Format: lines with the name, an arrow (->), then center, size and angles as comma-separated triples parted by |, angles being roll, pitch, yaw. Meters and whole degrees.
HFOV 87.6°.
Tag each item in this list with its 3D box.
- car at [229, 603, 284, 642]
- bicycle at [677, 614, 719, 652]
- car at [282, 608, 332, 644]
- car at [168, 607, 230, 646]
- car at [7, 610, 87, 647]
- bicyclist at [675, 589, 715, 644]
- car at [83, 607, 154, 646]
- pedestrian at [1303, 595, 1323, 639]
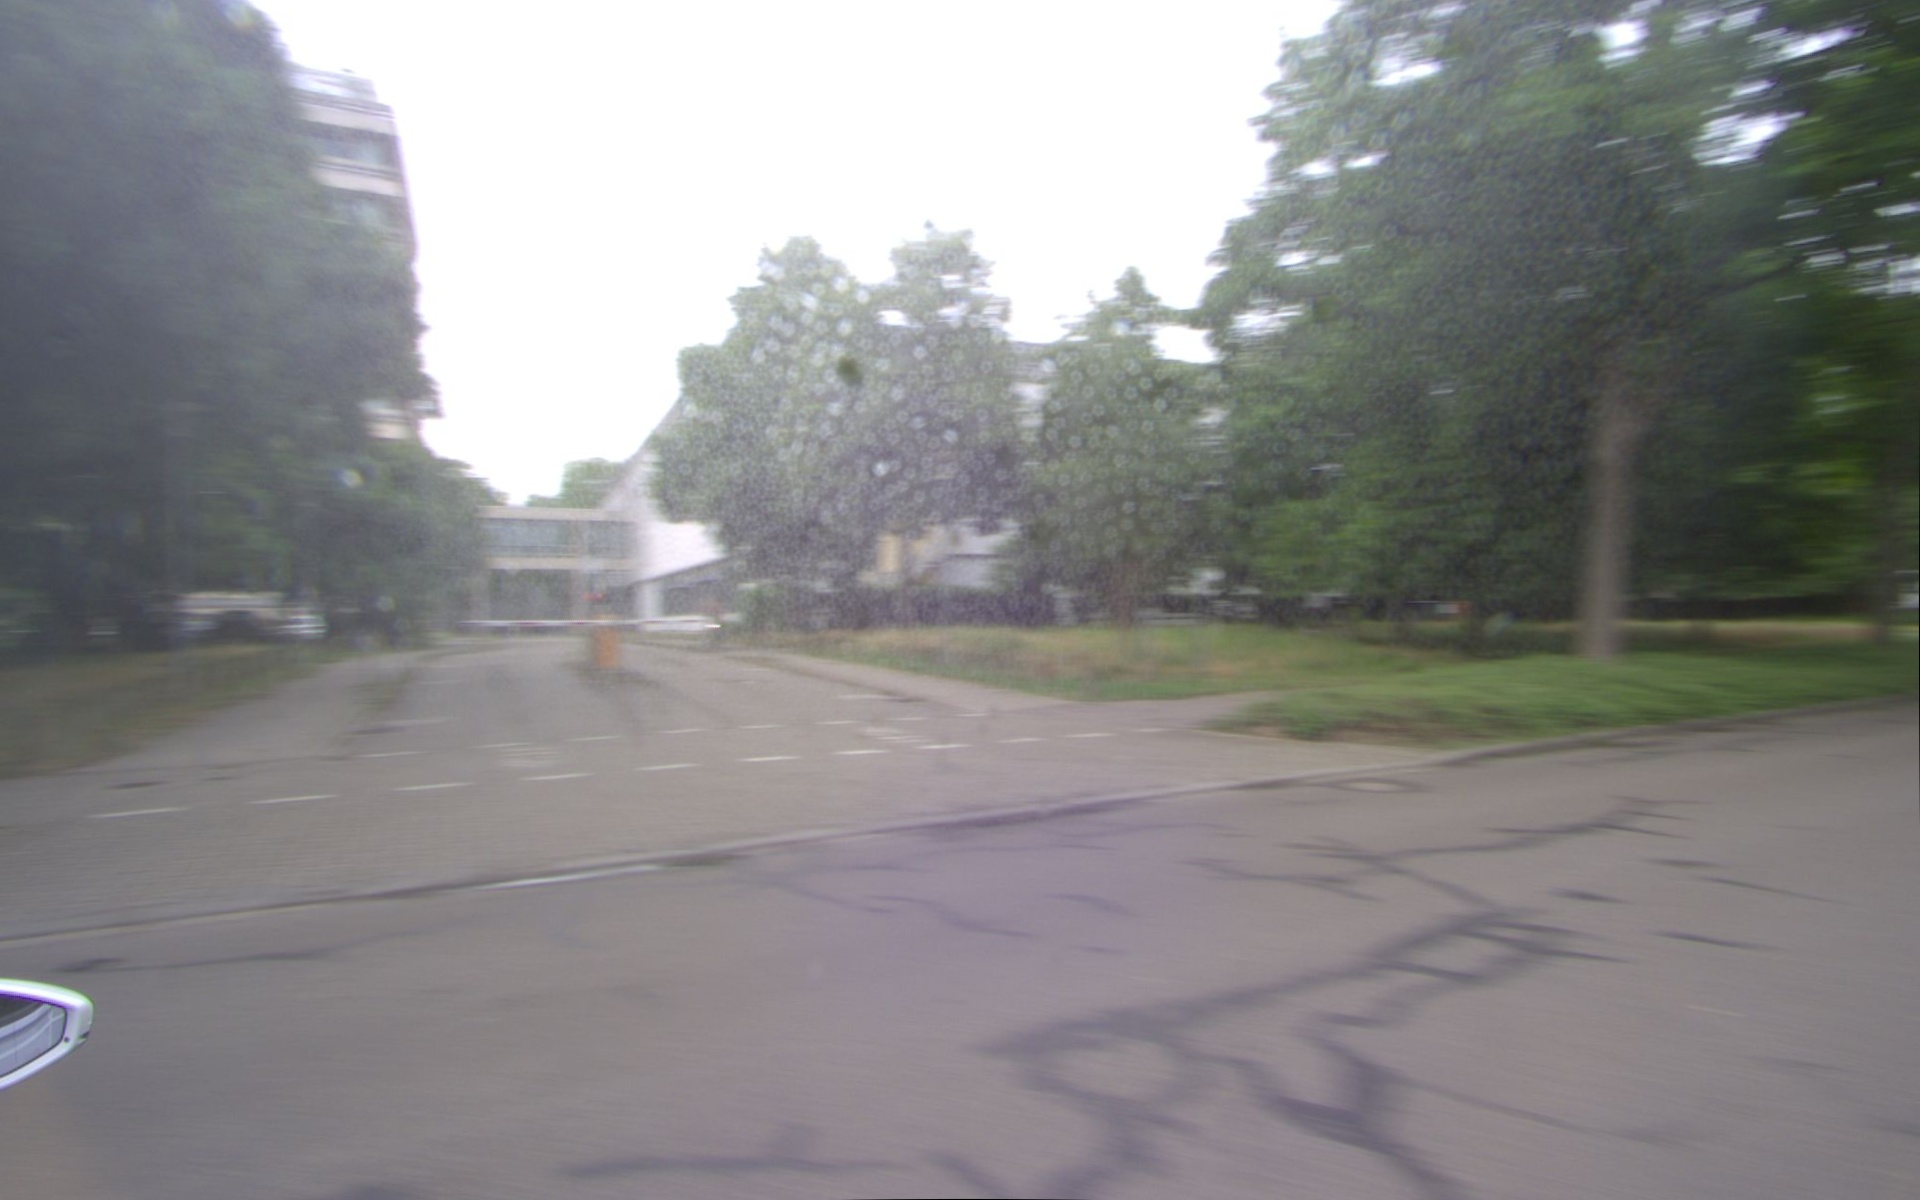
car -> -36.087, 1.193, 51.455 | 1.971, 1.906, 3.980 | 0, -2, -30
bicycle -> -8.057, 0.987, 30.692 | 0.856, 1.089, 2.133 | -1, 0, -25
car -> -34.117, 1.362, 52.366 | 1.971, 1.784, 3.980 | 0, -1, -30
car -> -38.142, 1.343, 50.263 | 1.971, 1.816, 3.981 | 0, -2, -30
car -> -43.167, 1.317, 47.434 | 1.971, 1.639, 3.979 | 0, -1, -30
bicyclist -> -8.167, 0.502, 30.855 | 1.005, 1.666, 0.919 | -1, 1, -26
car -> -40.737, 1.322, 48.586 | 1.971, 1.749, 3.981 | 0, -2, -30
pedestrian -> 14.565, 0.704, 41.274 | 0.563, 1.822, 0.542 | 0, 1, -17
